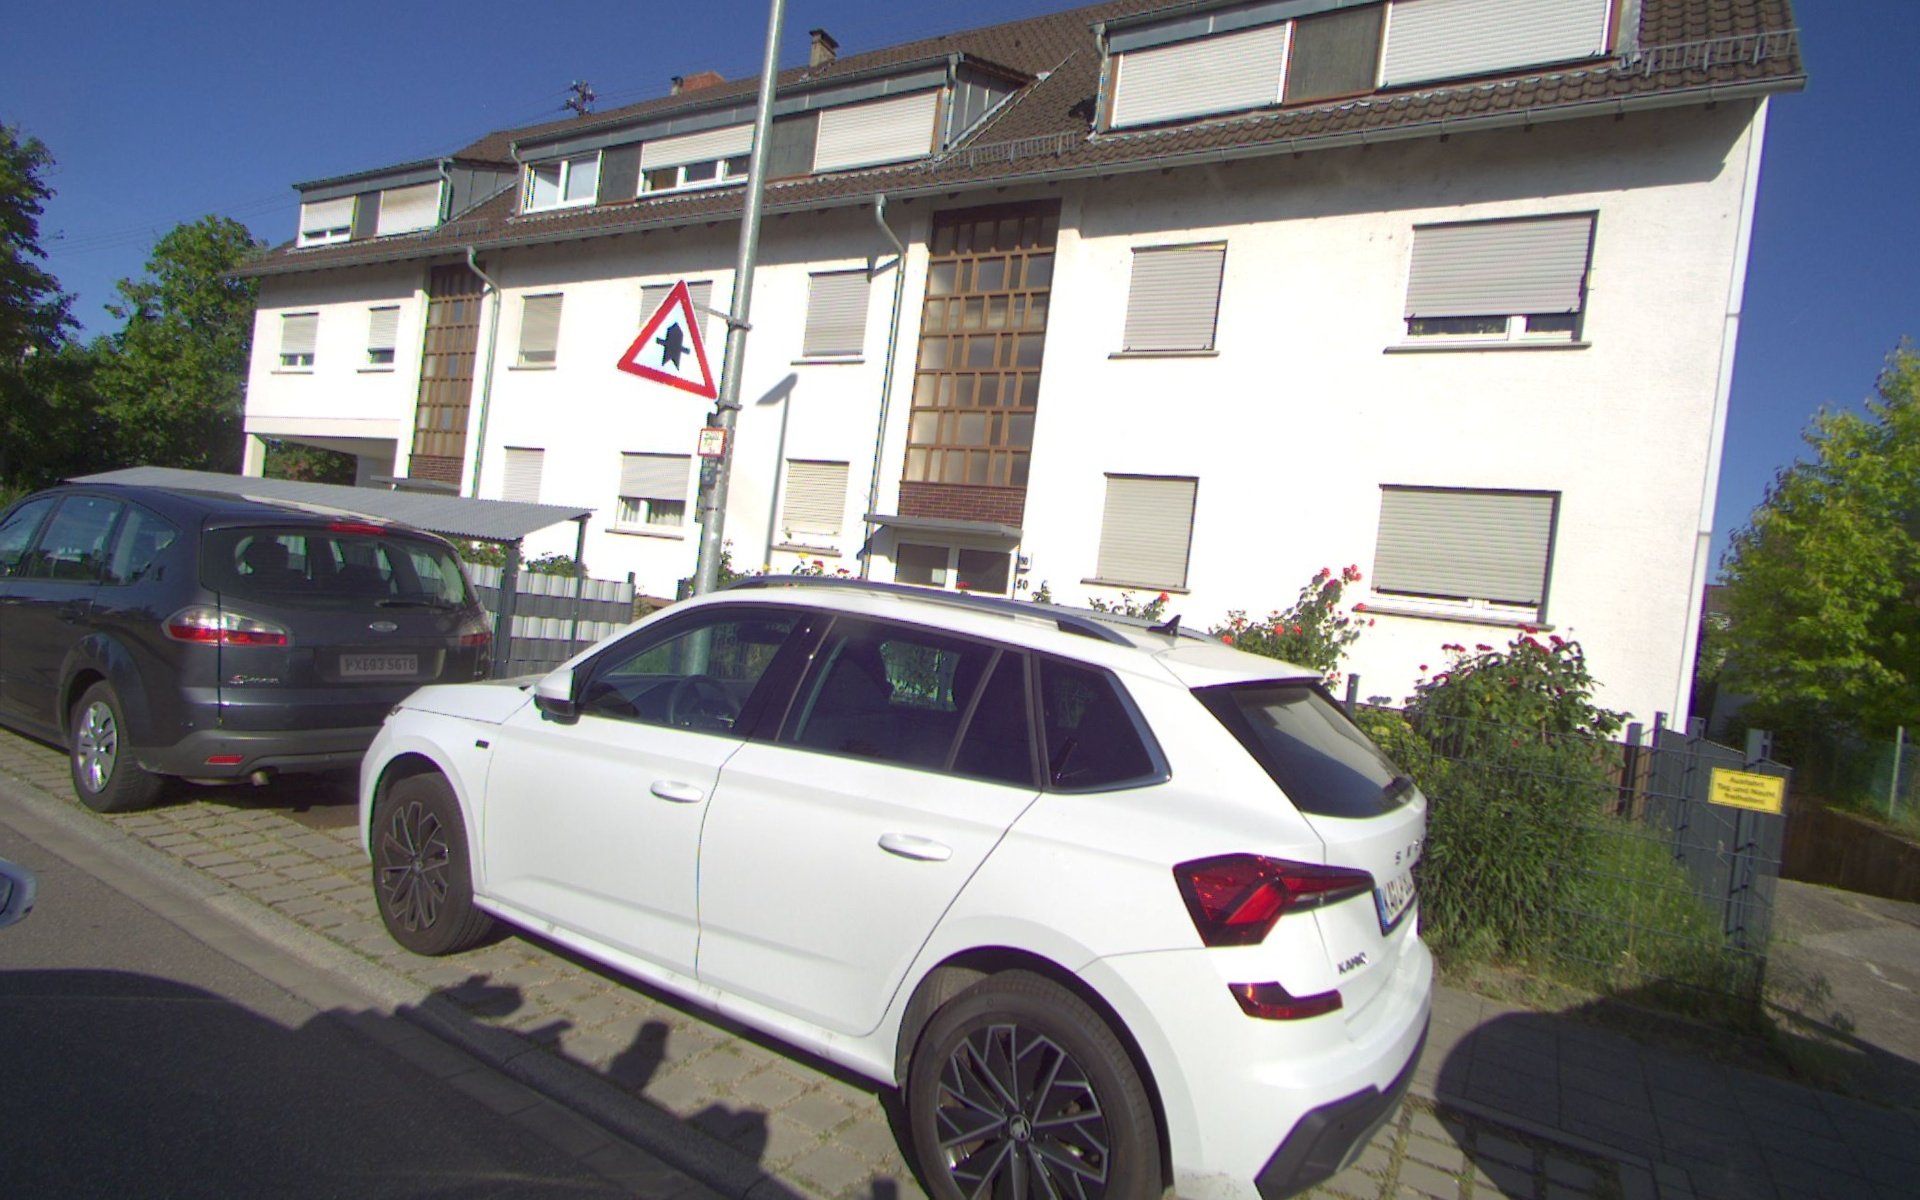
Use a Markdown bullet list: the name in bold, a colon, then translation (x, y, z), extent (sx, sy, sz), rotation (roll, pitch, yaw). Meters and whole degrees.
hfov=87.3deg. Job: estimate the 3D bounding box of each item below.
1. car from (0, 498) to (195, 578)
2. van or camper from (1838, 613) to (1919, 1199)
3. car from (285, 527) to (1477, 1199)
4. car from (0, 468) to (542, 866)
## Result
- **car**: translation (-22.523, -1.567, 26.298), extent (1.620, 1.549, 3.599), rotation (6, -1, 32)
- **van or camper**: translation (4.177, 1.018, 0.599), extent (5.217, 1.981, 2.026), rotation (7, 0, 39)
- **car**: translation (-0.541, 0.709, 3.701), extent (4.092, 1.511, 1.658), rotation (7, 0, 33)
- **car**: translation (-5.018, 0.116, 6.338), extent (4.778, 1.650, 1.792), rotation (7, 2, 30)
